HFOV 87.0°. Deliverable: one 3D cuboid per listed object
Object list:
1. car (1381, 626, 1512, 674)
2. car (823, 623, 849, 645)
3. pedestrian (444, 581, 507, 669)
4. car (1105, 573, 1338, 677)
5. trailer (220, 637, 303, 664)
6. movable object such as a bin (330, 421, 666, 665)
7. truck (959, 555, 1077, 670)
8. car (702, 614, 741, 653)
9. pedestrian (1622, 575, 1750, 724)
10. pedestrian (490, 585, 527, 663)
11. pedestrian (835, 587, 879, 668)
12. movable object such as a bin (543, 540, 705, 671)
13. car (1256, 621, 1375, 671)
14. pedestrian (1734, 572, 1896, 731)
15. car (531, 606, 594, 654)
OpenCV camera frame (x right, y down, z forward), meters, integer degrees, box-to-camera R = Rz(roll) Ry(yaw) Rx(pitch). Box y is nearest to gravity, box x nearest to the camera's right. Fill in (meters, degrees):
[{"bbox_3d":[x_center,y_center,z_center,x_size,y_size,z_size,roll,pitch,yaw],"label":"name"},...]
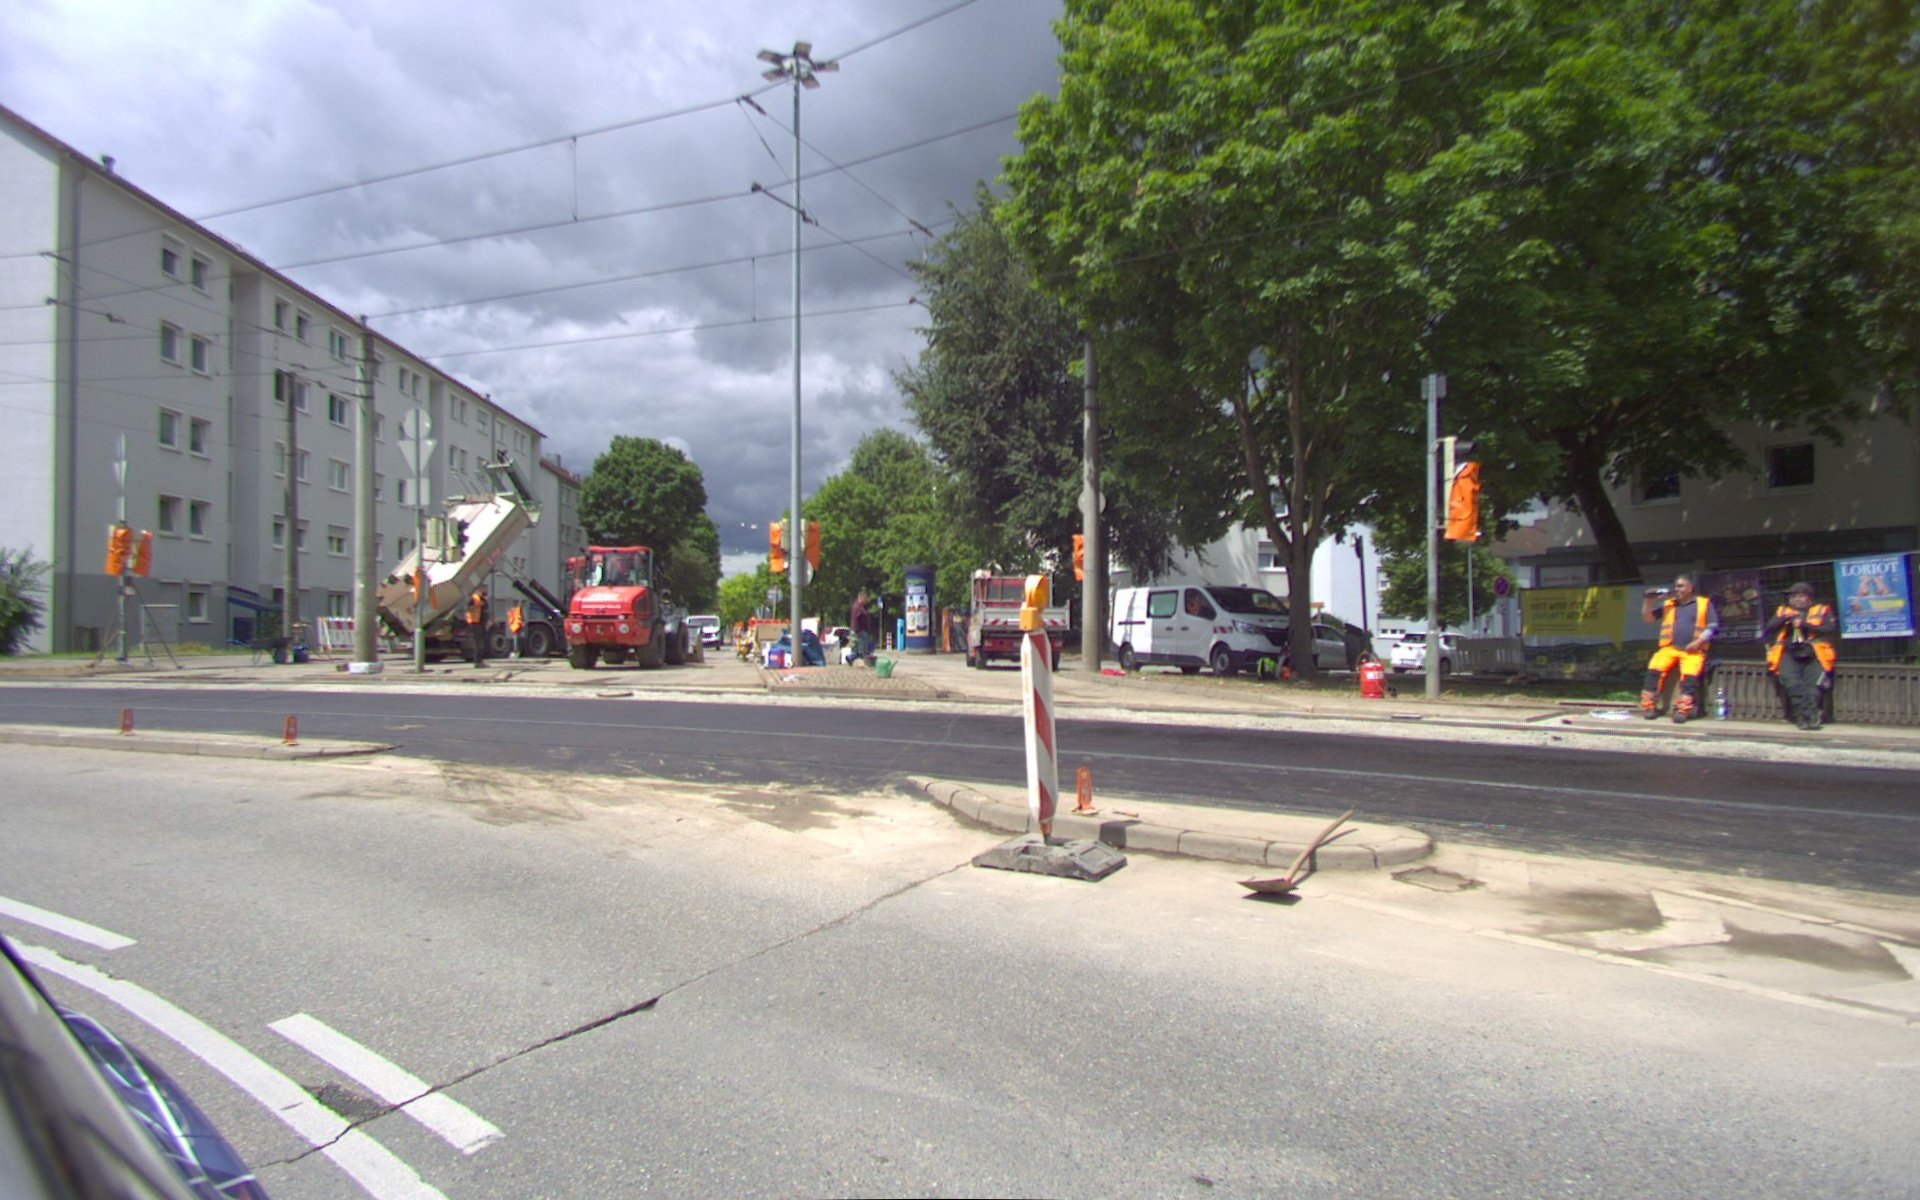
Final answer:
[{"bbox_3d":[15.849,1.588,32.948,3.809,1.470,1.783,1,-2,-24],"label":"car"},{"bbox_3d":[-8.845,2.433,72.246,1.651,1.516,4.008,0,-2,-10],"label":"car"},{"bbox_3d":[-10.351,0.514,21.641,0.958,1.846,0.796,0,0,2],"label":"pedestrian"},{"bbox_3d":[5.266,0.522,21.299,1.965,1.901,5.267,0,-1,-22],"label":"car"},{"bbox_3d":[-16.390,1.183,23.764,1.584,0.621,0.793,-1,-2,17],"label":"trailer"},{"bbox_3d":[-12.006,-1.173,27.661,2.801,5.527,8.973,-1,-2,21],"label":"movable object such as a bin"},{"bbox_3d":[1.313,0.385,25.694,2.384,2.588,5.586,0,-2,-3],"label":"truck"},{"bbox_3d":[-13.441,1.870,56.810,1.966,2.029,5.924,0,-2,-15],"label":"car"},{"bbox_3d":[7.866,0.523,10.993,0.785,1.552,0.764,0,-1,-13],"label":"pedestrian"},{"bbox_3d":[-10.650,0.573,23.897,0.603,1.802,0.582,-2,-1,-4],"label":"pedestrian"},{"bbox_3d":[-2.199,0.589,21.738,0.862,1.672,0.929,-1,-1,-2],"label":"pedestrian"},{"bbox_3d":[-7.589,0.117,23.568,2.085,2.689,5.590,0,0,-2],"label":"movable object such as a bin"},{"bbox_3d":[10.865,1.392,30.970,3.148,1.466,1.569,1,-2,-21],"label":"car"},{"bbox_3d":[8.715,0.510,10.348,0.827,1.544,0.910,0,-1,-13],"label":"pedestrian"},{"bbox_3d":[-16.473,1.254,42.143,1.966,1.896,4.355,0,-2,-15],"label":"car"}]
